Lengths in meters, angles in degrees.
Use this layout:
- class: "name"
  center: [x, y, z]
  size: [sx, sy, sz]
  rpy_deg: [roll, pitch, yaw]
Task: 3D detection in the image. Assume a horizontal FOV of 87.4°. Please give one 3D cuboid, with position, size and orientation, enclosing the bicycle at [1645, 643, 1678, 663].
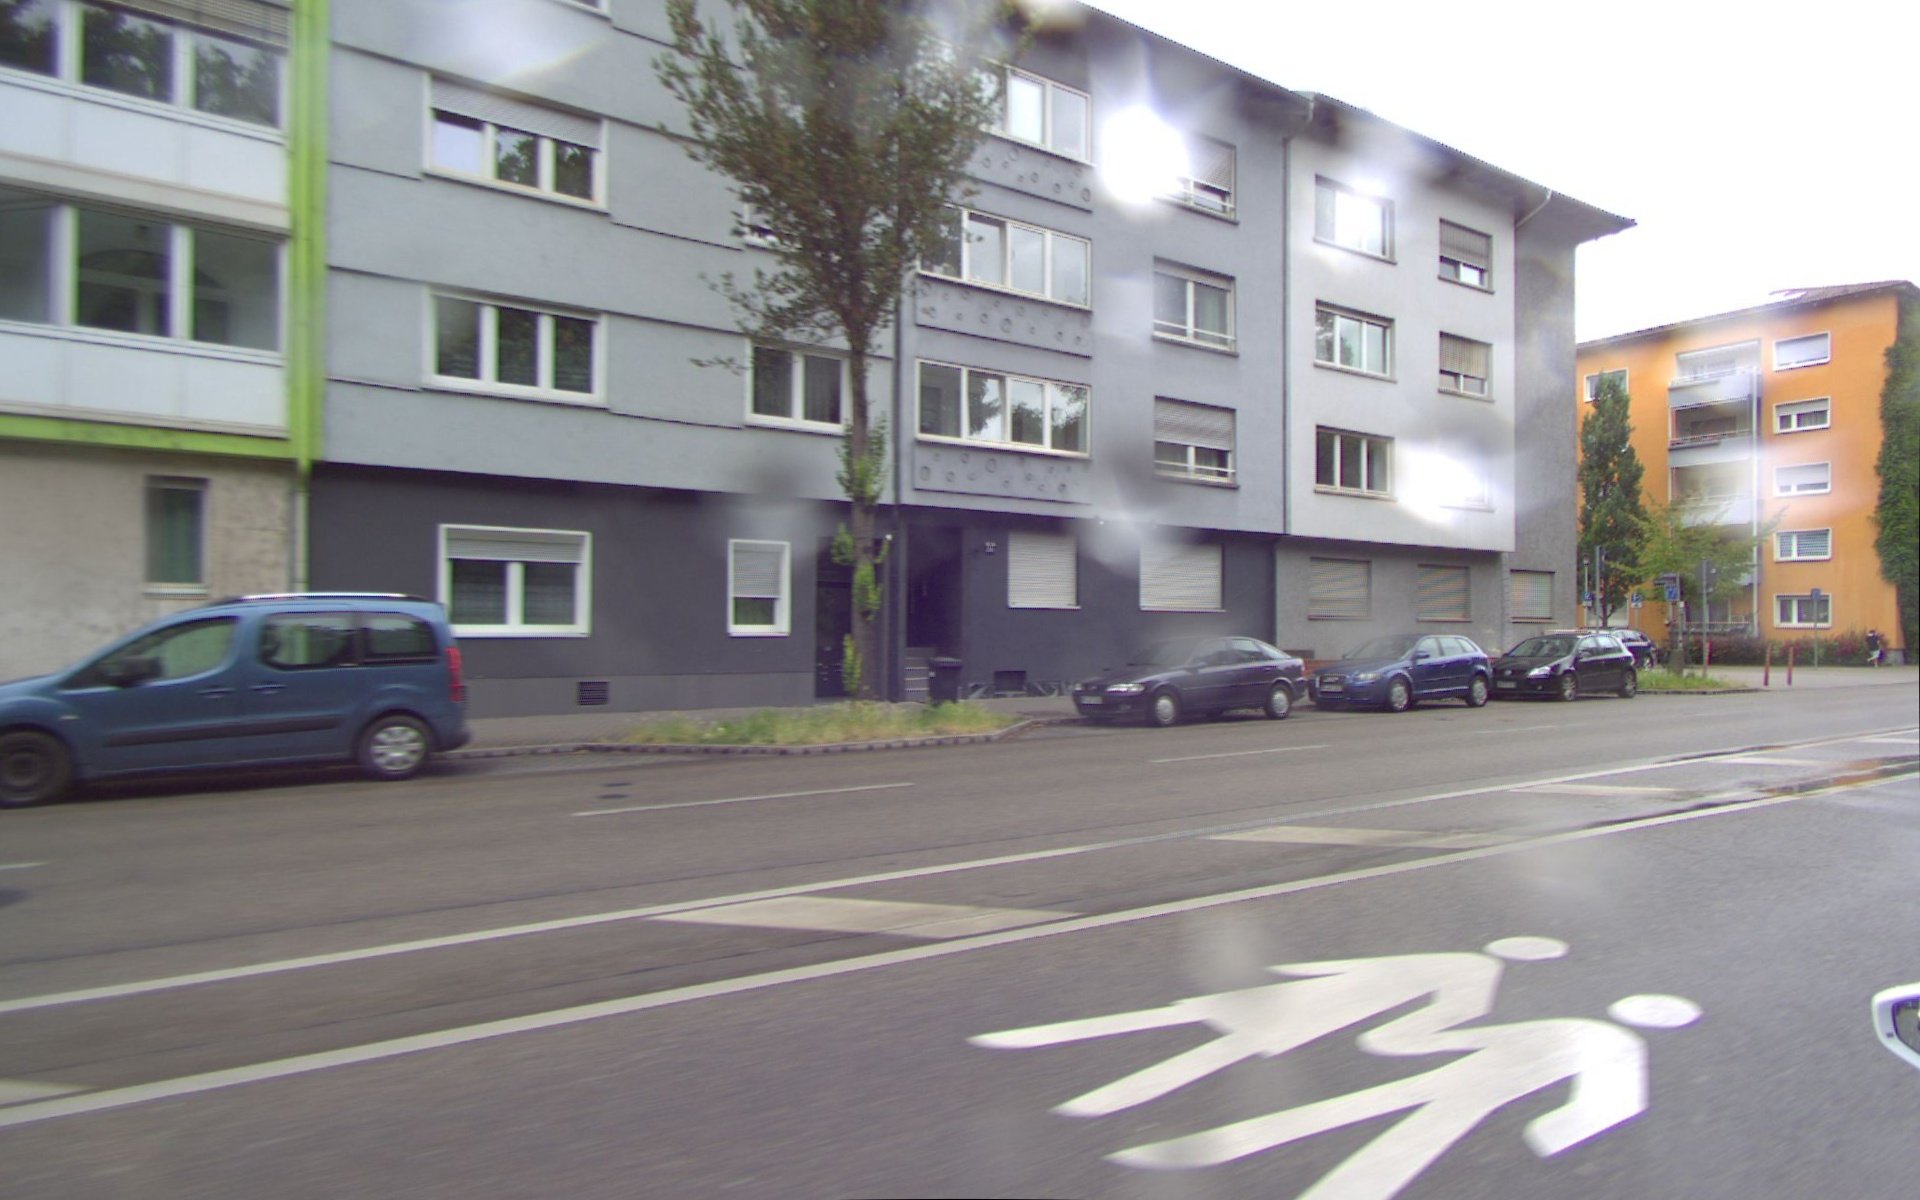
- class: "bicycle"
  center: [27.940, 2.108, 39.993]
  size: [1.528, 0.759, 0.462]
  rpy_deg: [1, -2, -30]

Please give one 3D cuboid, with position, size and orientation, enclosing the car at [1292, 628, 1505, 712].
- class: "car"
  center: [8.551, 1.322, 19.507]
  size: [4.228, 1.468, 1.672]
  rpy_deg: [1, -4, -32]

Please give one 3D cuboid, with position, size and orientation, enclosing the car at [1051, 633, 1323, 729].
- class: "car"
  center: [3.826, 1.288, 16.657]
  size: [4.529, 1.375, 1.679]
  rpy_deg: [1, -5, -33]

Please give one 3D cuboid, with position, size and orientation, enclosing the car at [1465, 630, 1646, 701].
- class: "car"
  center: [13.414, 1.432, 22.570]
  size: [4.274, 1.444, 1.704]
  rpy_deg: [1, -4, -32]

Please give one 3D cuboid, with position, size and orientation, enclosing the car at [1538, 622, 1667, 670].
- class: "car"
  center: [20.729, 1.467, 32.361]
  size: [4.361, 1.451, 1.714]
  rpy_deg: [1, -3, -31]

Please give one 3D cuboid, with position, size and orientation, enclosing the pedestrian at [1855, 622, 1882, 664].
- class: "pedestrian"
  center: [35.448, 1.686, 39.187]
  size: [0.653, 1.625, 0.583]
  rpy_deg: [1, -2, -30]

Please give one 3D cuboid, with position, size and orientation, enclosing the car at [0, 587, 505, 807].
- class: "car"
  center: [-7.044, 0.858, 9.781]
  size: [4.550, 1.789, 1.881]
  rpy_deg: [1, -3, -33]

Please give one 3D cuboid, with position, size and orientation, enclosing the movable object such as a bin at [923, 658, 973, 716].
- class: "movable object such as a bin"
  center: [-0.180, 1.285, 14.941]
  size: [0.603, 0.828, 0.466]
  rpy_deg: [1, -2, -33]
